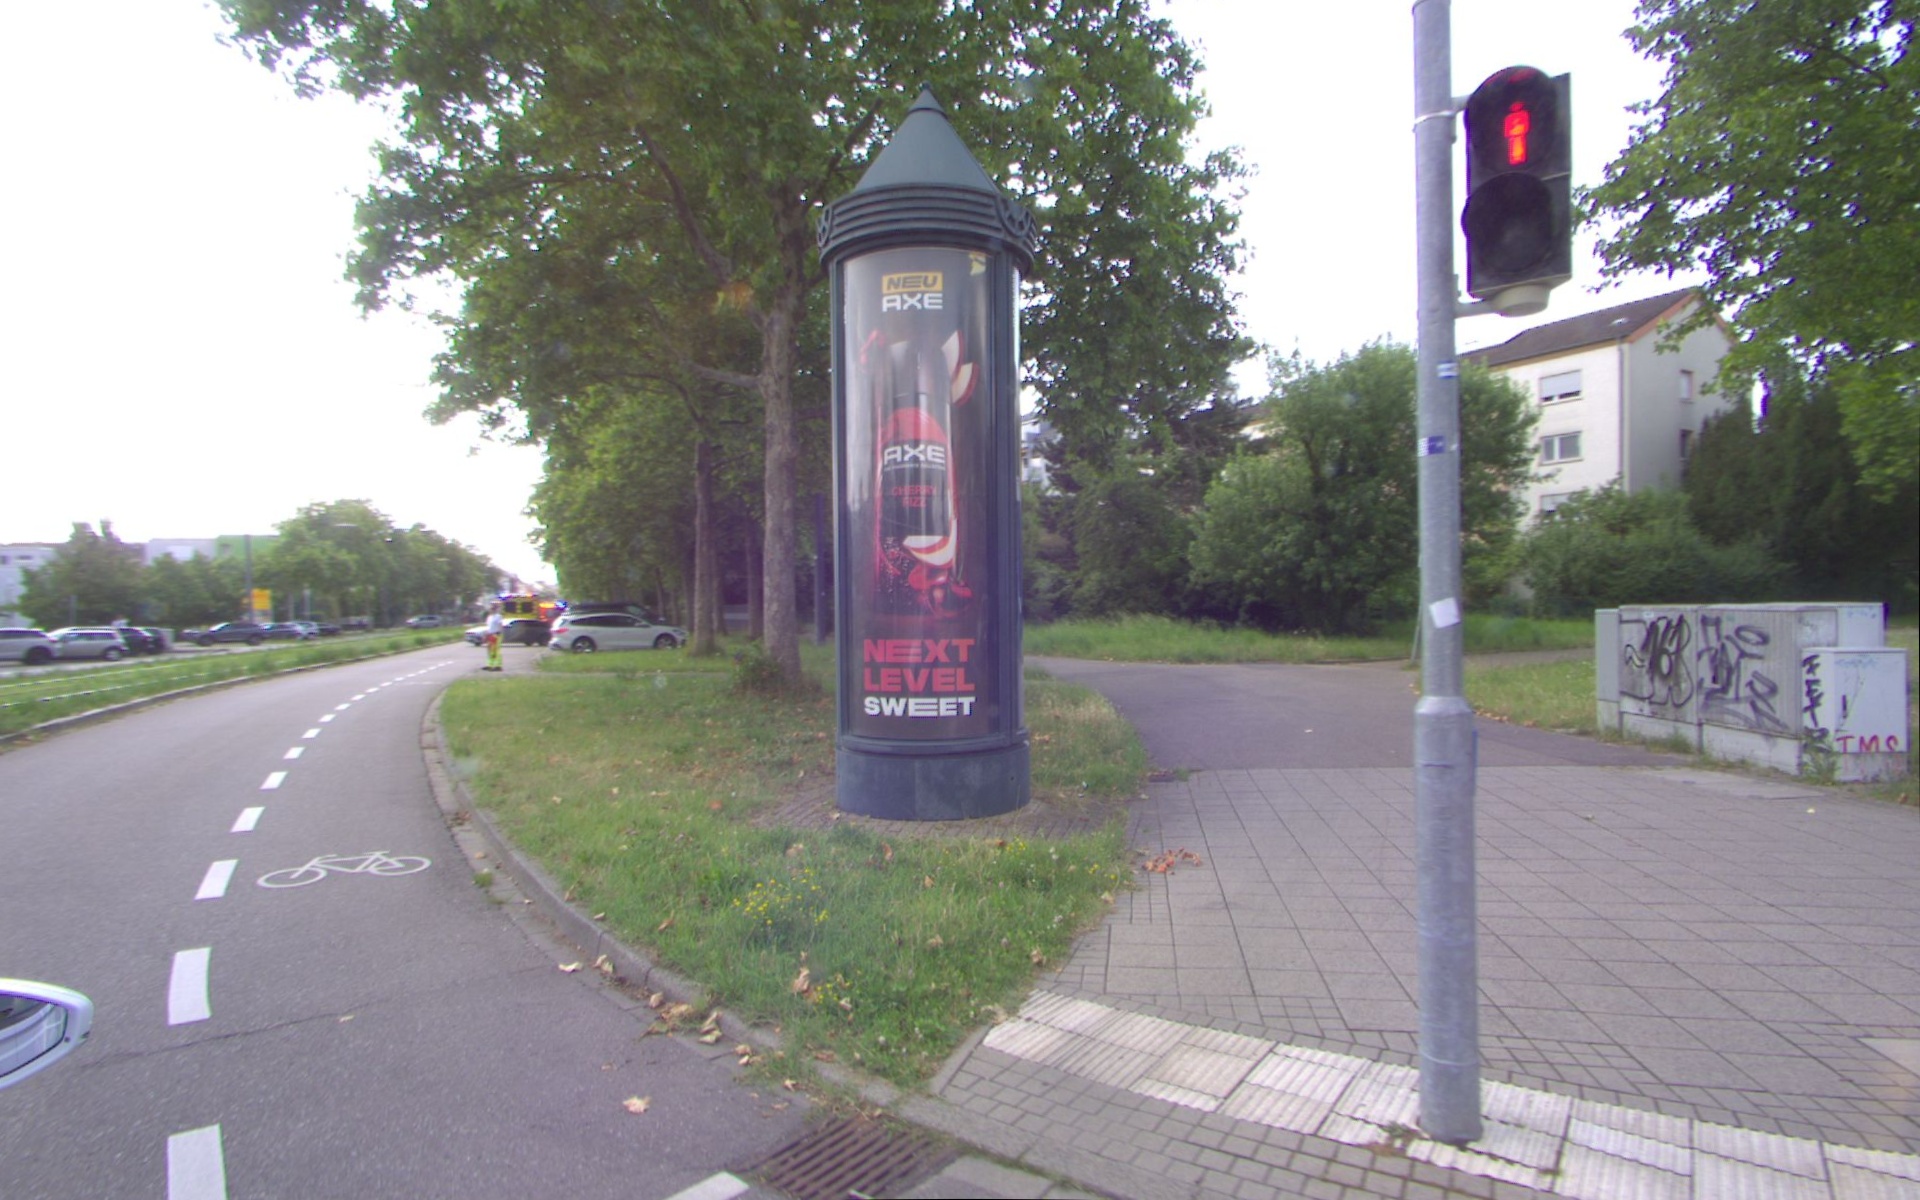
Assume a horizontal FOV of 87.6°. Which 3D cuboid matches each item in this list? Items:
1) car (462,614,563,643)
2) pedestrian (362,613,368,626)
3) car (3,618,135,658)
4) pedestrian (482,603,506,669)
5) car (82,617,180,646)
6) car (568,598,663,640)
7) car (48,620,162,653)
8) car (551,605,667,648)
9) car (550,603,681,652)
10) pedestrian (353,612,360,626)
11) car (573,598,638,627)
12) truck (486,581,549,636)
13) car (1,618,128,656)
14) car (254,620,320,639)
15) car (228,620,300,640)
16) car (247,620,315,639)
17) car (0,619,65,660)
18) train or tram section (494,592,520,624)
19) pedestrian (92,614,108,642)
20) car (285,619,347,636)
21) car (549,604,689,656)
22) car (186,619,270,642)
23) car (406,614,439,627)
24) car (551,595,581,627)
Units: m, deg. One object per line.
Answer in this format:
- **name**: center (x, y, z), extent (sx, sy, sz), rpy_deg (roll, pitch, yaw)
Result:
- **car**: center (-23.526, 1.476, 52.740), extent (1.822, 1.411, 4.562), rpy_deg (-1, -1, 45)
- **pedestrian**: center (-75.823, 2.492, 127.623), extent (0.612, 1.751, 0.645), rpy_deg (1, -1, -21)
- **car**: center (-40.302, 1.683, 45.348), extent (1.881, 1.650, 4.280), rpy_deg (-1, -1, 41)
- **pedestrian**: center (-12.325, 0.944, 26.492), extent (0.578, 1.706, 0.492), rpy_deg (0, 0, -25)
- **car**: center (-45.918, 1.712, 55.522), extent (4.128, 1.523, 1.843), rpy_deg (0, -1, -43)
- **car**: center (-17.658, 0.974, 51.390), extent (4.479, 2.040, 1.995), rpy_deg (-1, 0, -20)
- **car**: center (-42.831, 1.794, 50.211), extent (1.840, 1.523, 4.135), rpy_deg (-1, -1, 42)
- **car**: center (-14.746, 1.118, 42.073), extent (4.468, 1.665, 1.994), rpy_deg (-1, -1, -23)
- **car**: center (-12.824, 1.024, 37.275), extent (4.468, 1.665, 1.994), rpy_deg (-1, -1, -23)
- **pedestrian**: center (-76.170, 2.449, 126.306), extent (0.612, 1.751, 0.645), rpy_deg (1, -1, -21)
- **car**: center (-43.641, 1.611, 123.329), extent (7.344, 3.373, 2.964), rpy_deg (1, -1, -26)
- **truck**: center (-28.965, 0.574, 65.879), extent (3.139, 3.361, 7.505), rpy_deg (-1, 0, -19)
- **car**: center (-42.130, 1.696, 47.169), extent (1.881, 1.650, 4.280), rpy_deg (-1, -1, 41)
- **car**: center (-54.830, 2.371, 81.618), extent (4.270, 1.382, 1.884), rpy_deg (-1, 0, -43)
- **car**: center (-52.819, 2.240, 76.076), extent (4.270, 1.382, 1.884), rpy_deg (-1, 0, -43)
- **car**: center (-53.738, 2.317, 79.271), extent (4.270, 1.382, 1.884), rpy_deg (-1, 0, -43)
- **car**: center (-40.118, 1.659, 41.457), extent (1.877, 1.651, 4.286), rpy_deg (-1, 0, 36)
- **train or tram section**: center (-52.912, 0.920, 116.884), extent (2.457, 3.644, 7.391), rpy_deg (-1, 0, -26)
- **pedestrian**: center (-52.049, 1.686, 60.612), extent (0.589, 1.697, 0.538), rpy_deg (-1, 1, -29)
- **car**: center (-55.111, 2.333, 85.725), extent (4.270, 1.382, 1.884), rpy_deg (-1, 0, -43)
- **car**: center (-11.888, 1.032, 34.873), extent (4.468, 1.665, 1.994), rpy_deg (-1, -1, -23)
- **car**: center (-48.691, 2.018, 66.671), extent (4.273, 1.382, 1.883), rpy_deg (-1, 0, -45)
- **car**: center (-80.087, 3.021, 149.290), extent (1.799, 1.861, 3.973), rpy_deg (0, -2, 38)
- **car**: center (-42.996, 1.226, 109.338), extent (2.926, 3.373, 7.439), rpy_deg (1, -1, -22)
